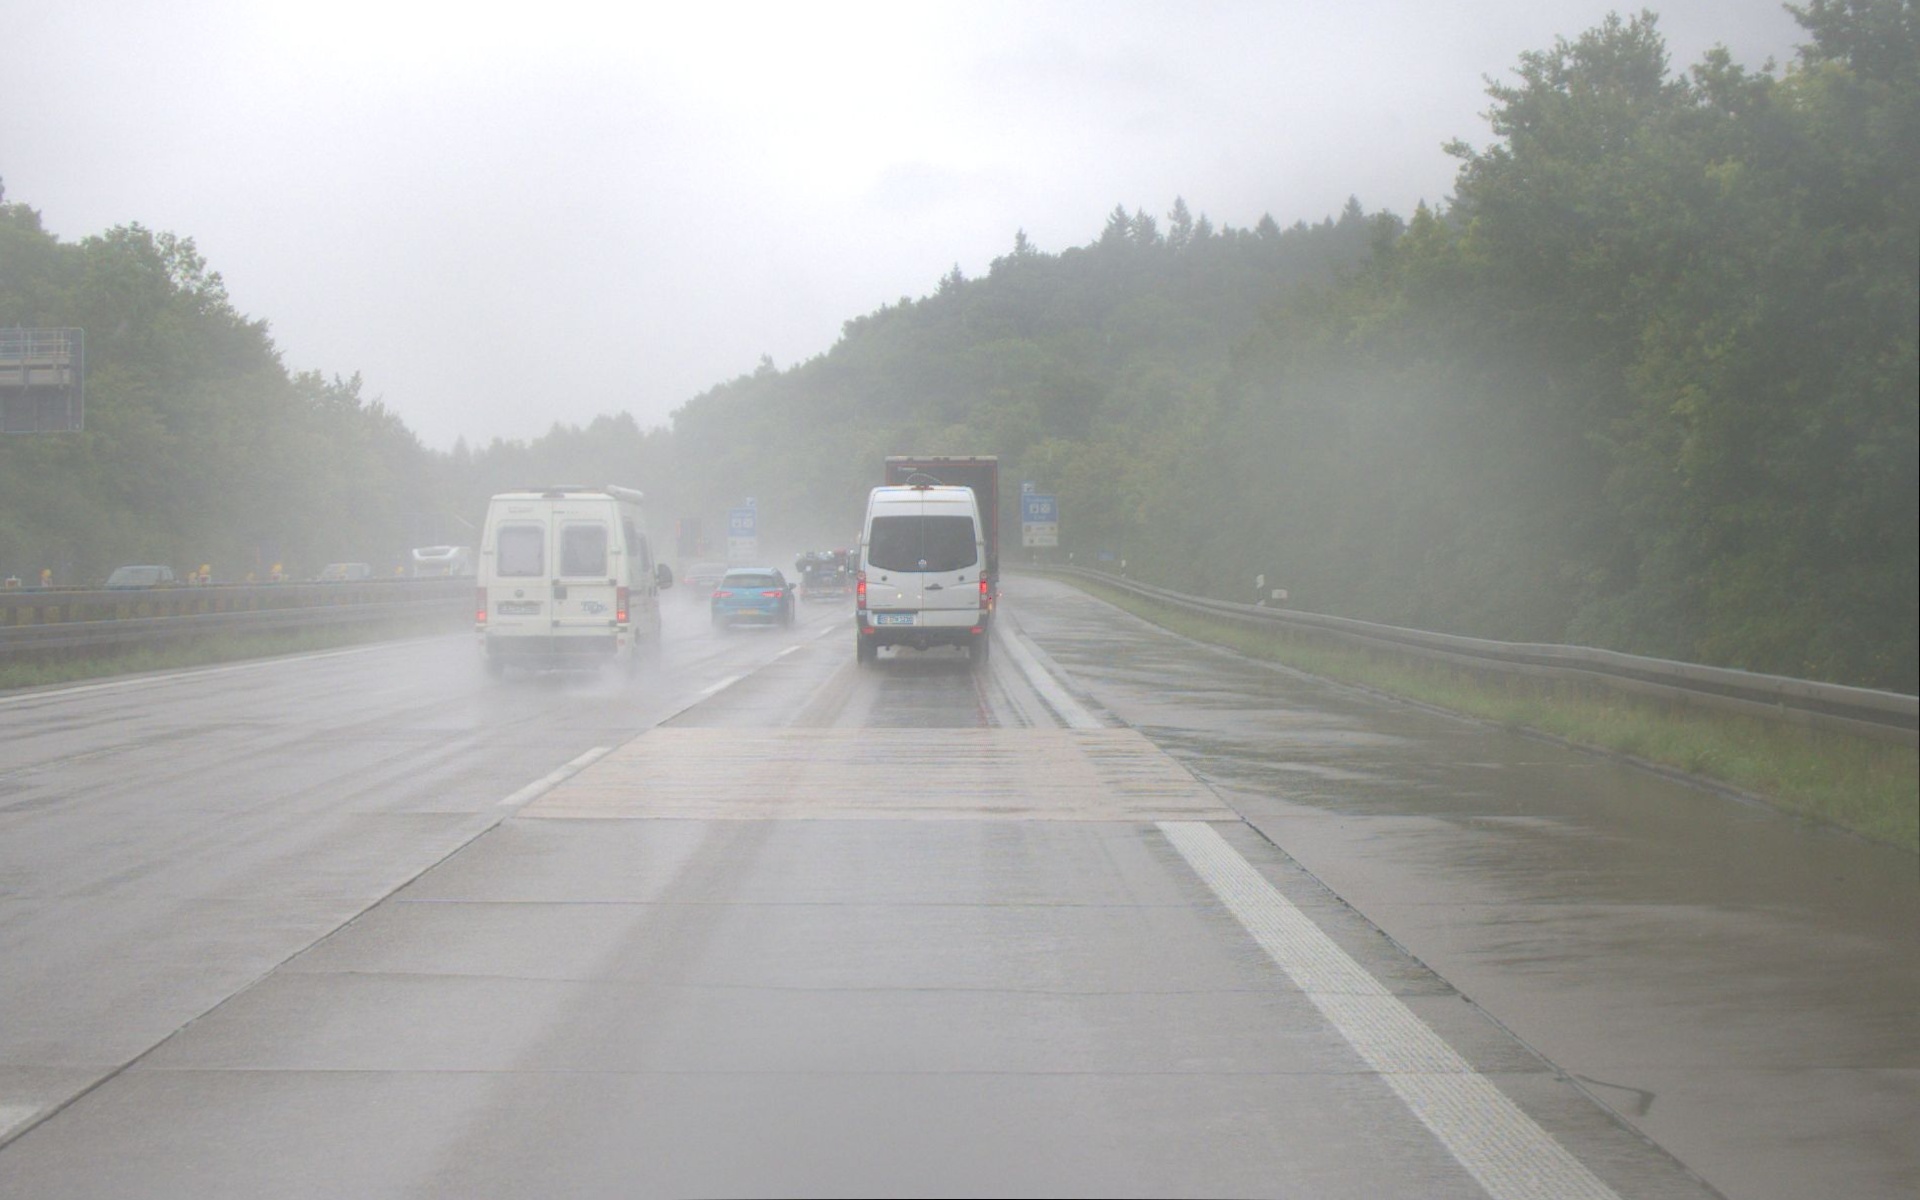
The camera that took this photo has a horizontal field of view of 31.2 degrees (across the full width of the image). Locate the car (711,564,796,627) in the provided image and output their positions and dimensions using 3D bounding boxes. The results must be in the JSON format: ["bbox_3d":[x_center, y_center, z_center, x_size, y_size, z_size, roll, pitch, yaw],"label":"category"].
[{"bbox_3d":[-4.767,-0.115,79.329,1.856,1.334,4.352,2,1,-4],"label":"car"}]

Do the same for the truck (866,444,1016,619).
[{"bbox_3d":[-0.493,-1.750,82.734,3.385,3.954,8.668,-1,3,-1],"label":"truck"}]

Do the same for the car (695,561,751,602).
[{"bbox_3d":[-8.245,-0.664,119.852,1.856,1.334,4.352,2,1,-3],"label":"car"}]

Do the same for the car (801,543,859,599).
[{"bbox_3d":[-4.361,-0.993,116.046,1.868,1.804,4.189,2,1,-2],"label":"car"}]

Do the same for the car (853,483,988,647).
[{"bbox_3d":[-0.649,-0.550,52.547,1.899,2.326,5.251,2,1,-2],"label":"car"}]

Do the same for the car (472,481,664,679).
[{"bbox_3d":[-5.150,-0.293,45.855,1.997,2.423,5.791,2,1,-2],"label":"car"}]
